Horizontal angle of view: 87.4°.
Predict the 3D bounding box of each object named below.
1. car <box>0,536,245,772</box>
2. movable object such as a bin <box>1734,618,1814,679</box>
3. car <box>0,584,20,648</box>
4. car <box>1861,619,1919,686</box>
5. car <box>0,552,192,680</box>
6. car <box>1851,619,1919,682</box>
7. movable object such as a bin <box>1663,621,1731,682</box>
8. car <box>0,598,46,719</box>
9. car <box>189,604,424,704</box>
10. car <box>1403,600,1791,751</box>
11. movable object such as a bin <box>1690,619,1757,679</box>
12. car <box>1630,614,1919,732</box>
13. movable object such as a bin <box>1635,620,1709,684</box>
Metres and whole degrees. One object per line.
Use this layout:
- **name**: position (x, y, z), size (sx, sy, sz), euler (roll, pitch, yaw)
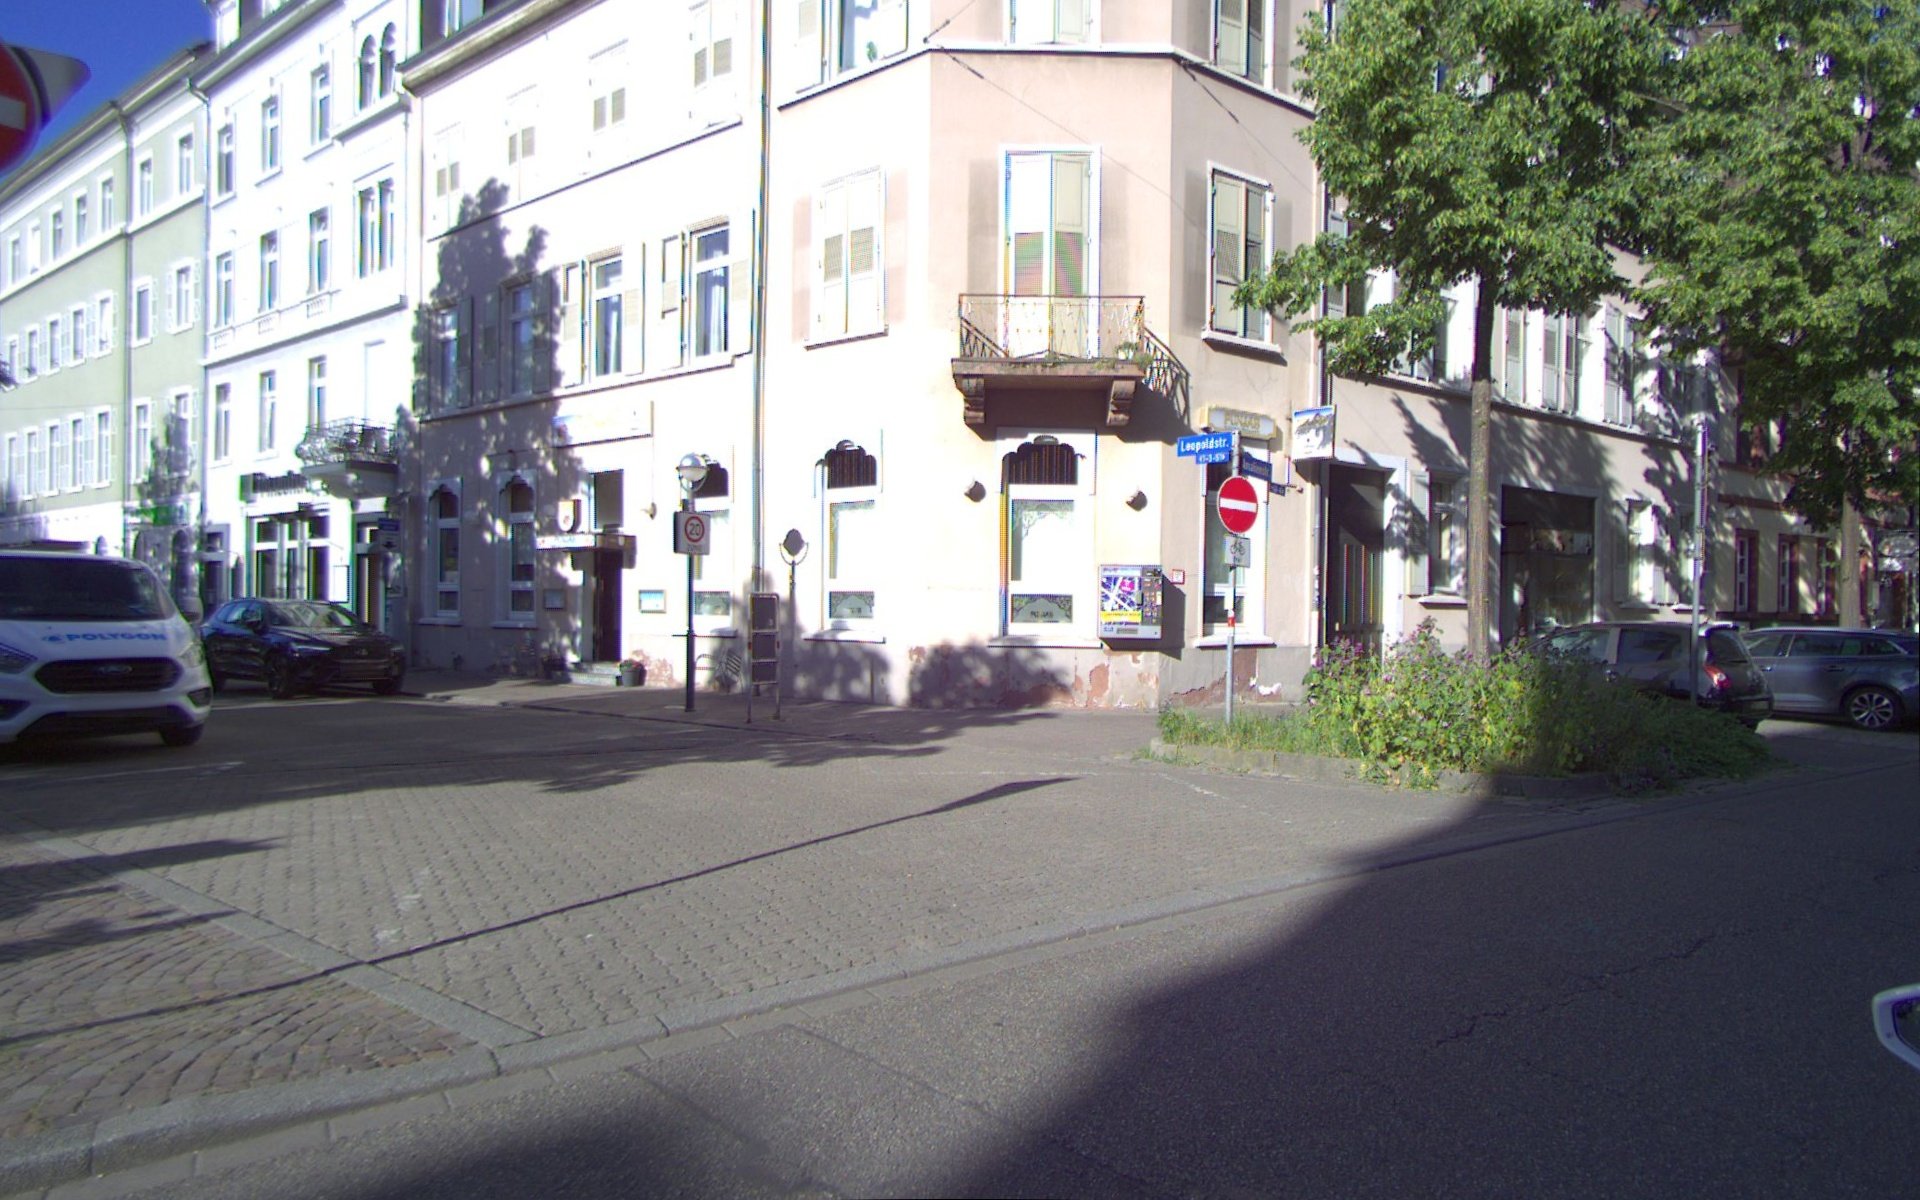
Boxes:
- **car**: position (-9.823, 0.483, 10.452), size (5.237, 1.970, 2.069), euler (0, -1, 32)
- **movable object such as a bin**: position (20.663, 1.225, 25.513), size (1.365, 1.464, 1.128), euler (1, 0, -29)
- **car**: position (-29.416, 0.453, 29.267), size (4.509, 1.812, 1.923), euler (0, -1, 33)
- **car**: position (23.851, 1.321, 22.848), size (1.981, 1.512, 4.666), euler (3, 0, -36)
- **car**: position (-21.399, 0.392, 24.341), size (6.899, 2.737, 2.208), euler (0, -1, 33)
- **car**: position (25.450, 1.339, 24.926), size (1.981, 1.512, 4.666), euler (0, 1, -36)
- **movable object such as a bin**: position (17.219, 1.187, 23.476), size (1.233, 1.373, 0.825), euler (1, 0, -29)
- **car**: position (-14.212, 0.749, 13.459), size (4.080, 1.537, 1.923), euler (0, -1, 33)
- **car**: position (-11.441, 0.868, 17.504), size (4.310, 1.537, 1.923), euler (-1, -1, 34)
- **car**: position (8.313, 0.874, 13.492), size (1.921, 1.662, 3.968), euler (1, 0, -30)
- **movable object such as a bin**: position (18.348, 1.163, 24.143), size (1.329, 1.380, 0.814), euler (1, 0, -29)
- **car**: position (13.367, 1.056, 15.802), size (1.921, 1.565, 4.319), euler (1, 0, -30)
- **movable object such as a bin**: position (16.147, 1.168, 22.800), size (1.246, 1.385, 0.905), euler (1, 0, -29)
